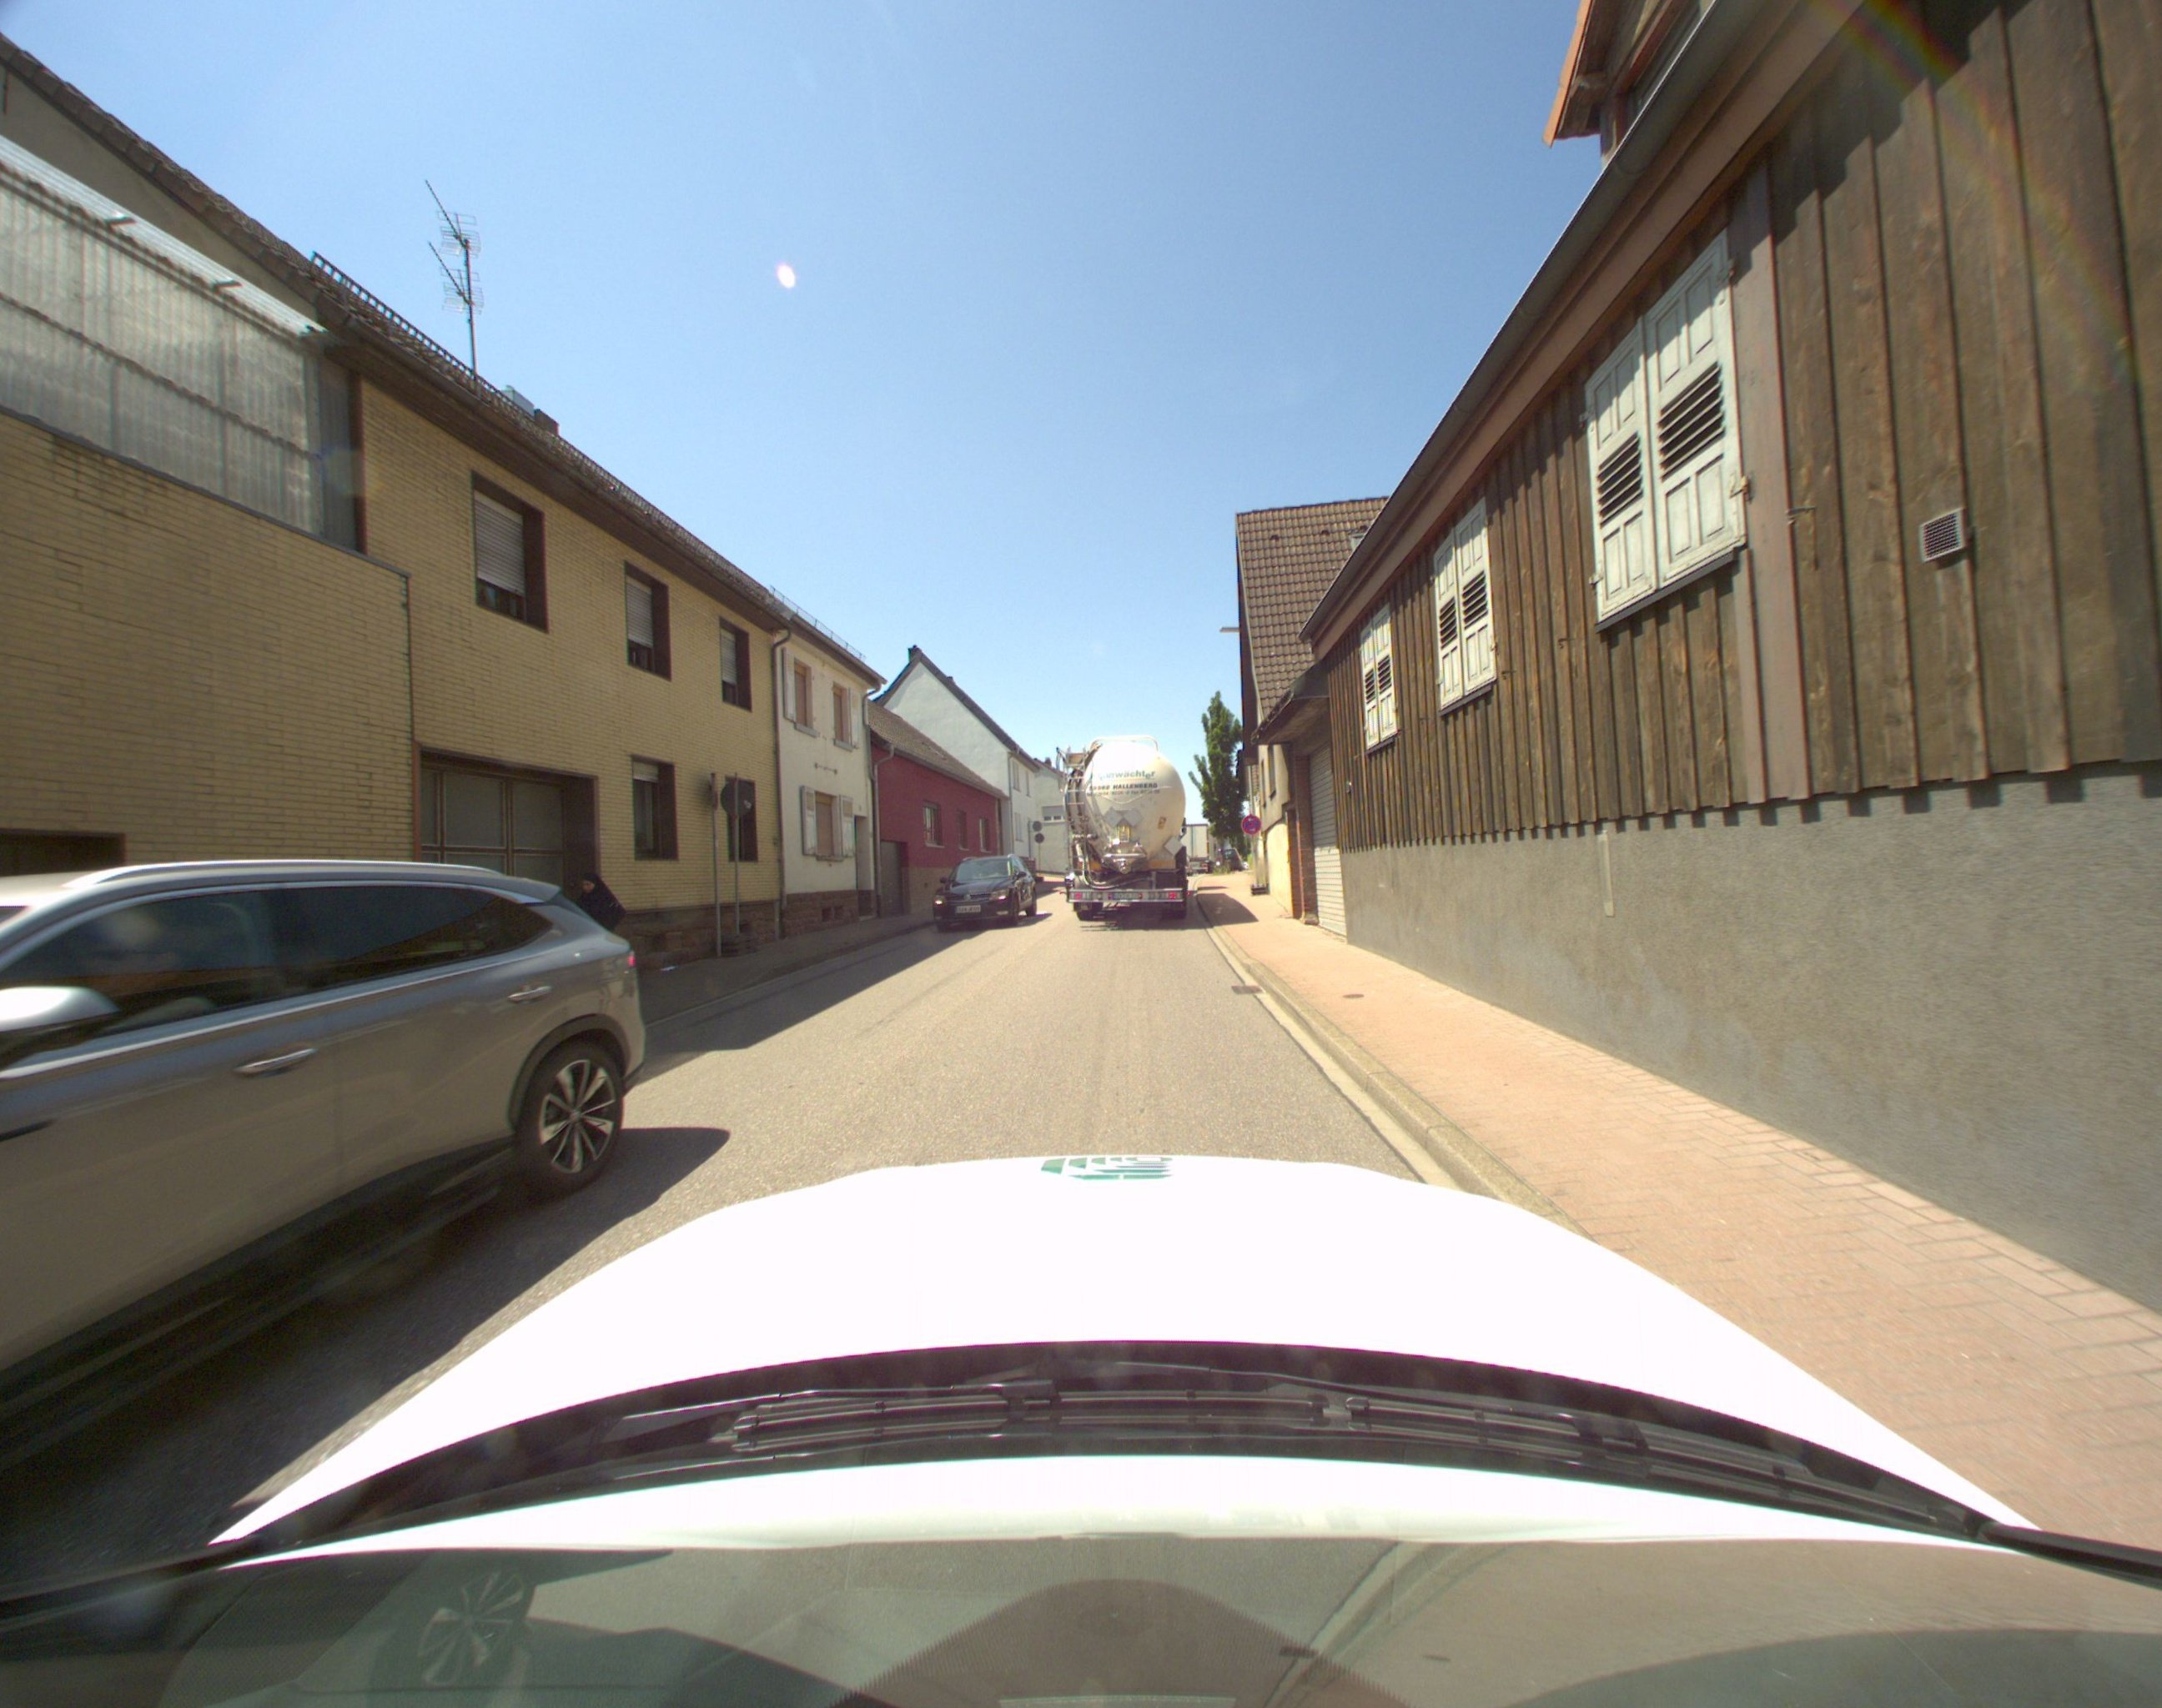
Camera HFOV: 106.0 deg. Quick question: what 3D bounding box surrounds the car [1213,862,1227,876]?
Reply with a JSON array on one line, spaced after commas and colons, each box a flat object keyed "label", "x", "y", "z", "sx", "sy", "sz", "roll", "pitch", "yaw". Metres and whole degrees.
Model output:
[{"label": "car", "x": 20.653, "y": 2.282, "z": 121.266, "sx": 1.934, "sy": 1.970, "sz": 4.797, "roll": -3, "pitch": -2, "yaw": 10}]

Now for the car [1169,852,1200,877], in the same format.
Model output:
[{"label": "car", "x": 6.790, "y": 0.710, "z": 53.224, "sx": 1.690, "sy": 1.447, "sz": 4.848, "roll": -5, "pitch": -2, "yaw": 9}]

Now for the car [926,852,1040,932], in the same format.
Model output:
[{"label": "car", "x": -2.209, "y": 0.821, "z": 19.659, "sx": 1.803, "sy": 1.609, "sz": 4.342, "roll": -4, "pitch": 0, "yaw": 5}]

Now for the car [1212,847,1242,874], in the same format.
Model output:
[{"label": "car", "x": 10.204, "y": 0.455, "z": 56.640, "sx": 1.790, "sy": 1.614, "sz": 4.562, "roll": -5, "pitch": -1, "yaw": 11}]

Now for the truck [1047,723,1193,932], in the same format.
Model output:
[{"label": "truck", "x": 1.244, "y": -0.520, "z": 19.847, "sx": 2.718, "sy": 3.960, "sz": 8.158, "roll": -2, "pitch": 0, "yaw": 7}]

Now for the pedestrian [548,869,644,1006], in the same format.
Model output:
[{"label": "pedestrian", "x": -5.788, "y": 0.969, "z": 9.755, "sx": 0.658, "sy": 1.564, "sz": 0.756, "roll": -1, "pitch": 0, "yaw": 4}]

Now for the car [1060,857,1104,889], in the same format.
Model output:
[{"label": "car", "x": 0.124, "y": 0.886, "z": 39.772, "sx": 1.686, "sy": 1.409, "sz": 4.206, "roll": -3, "pitch": 0, "yaw": 5}]

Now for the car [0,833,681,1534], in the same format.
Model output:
[{"label": "car", "x": -3.402, "y": 0.807, "z": 2.683, "sx": 1.822, "sy": 1.621, "sz": 4.264, "roll": -3, "pitch": 0, "yaw": 3}]

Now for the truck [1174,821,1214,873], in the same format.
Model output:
[{"label": "truck", "x": 9.723, "y": -0.587, "z": 69.371, "sx": 2.945, "sy": 4.069, "sz": 9.308, "roll": -2, "pitch": 0, "yaw": 10}]
